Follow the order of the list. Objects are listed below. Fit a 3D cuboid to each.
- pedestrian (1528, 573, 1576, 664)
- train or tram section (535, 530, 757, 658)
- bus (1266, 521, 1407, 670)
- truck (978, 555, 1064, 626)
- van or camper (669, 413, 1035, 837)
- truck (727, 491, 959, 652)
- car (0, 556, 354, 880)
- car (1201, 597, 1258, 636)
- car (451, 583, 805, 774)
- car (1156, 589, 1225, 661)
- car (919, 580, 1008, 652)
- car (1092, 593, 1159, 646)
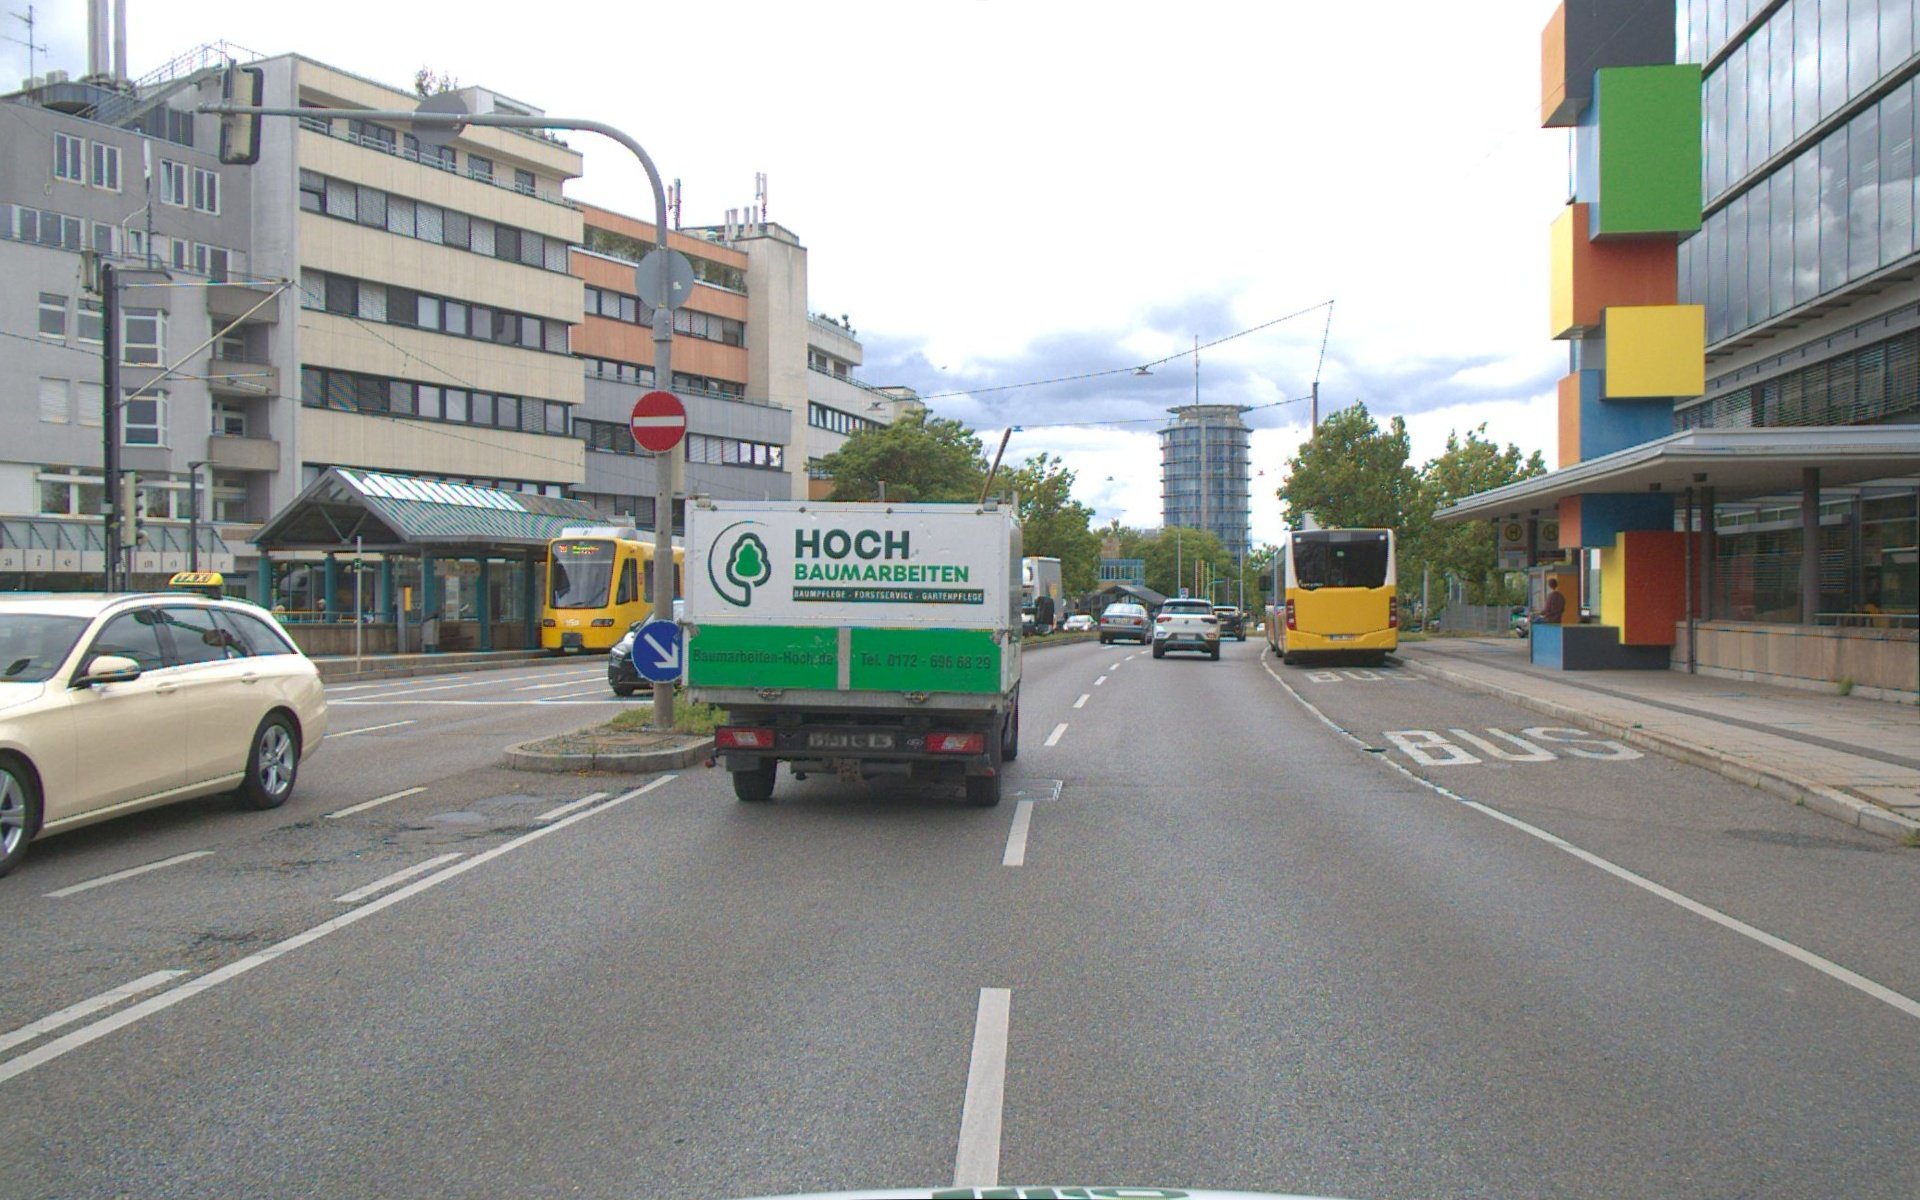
[{"bbox_3d":[12.079,0.374,33.763,0.695,1.847,0.764,0,0,-1],"label":"pedestrian"},{"bbox_3d":[-9.323,-0.156,51.287,2.505,3.470,13.093,0,0,9],"label":"train or tram section"},{"bbox_3d":[9.306,-0.134,41.861,2.891,3.246,9.937,-2,0,10],"label":"bus"},{"bbox_3d":[2.951,-0.437,77.361,3.017,3.081,9.366,0,0,8],"label":"truck"},{"bbox_3d":[-0.576,0.090,13.730,2.294,2.708,5.968,1,1,3],"label":"van or camper"},{"bbox_3d":[-3.042,-0.802,50.938,2.891,4.151,16.617,0,0,11],"label":"truck"},{"bbox_3d":[-5.682,0.617,10.133,1.858,1.646,4.835,0,-1,4],"label":"car"},{"bbox_3d":[11.781,0.710,72.228,1.665,1.542,3.493,1,2,23],"label":"car"},{"bbox_3d":[-2.934,0.614,15.811,1.924,1.525,4.779,0,0,7],"label":"car"},{"bbox_3d":[6.142,0.629,44.298,1.664,1.574,3.740,3,3,7],"label":"car"},{"bbox_3d":[0.170,0.430,49.562,1.951,2.049,5.201,0,0,8],"label":"car"},{"bbox_3d":[5.835,0.643,58.040,1.664,1.542,3.740,1,4,16],"label":"car"}]
